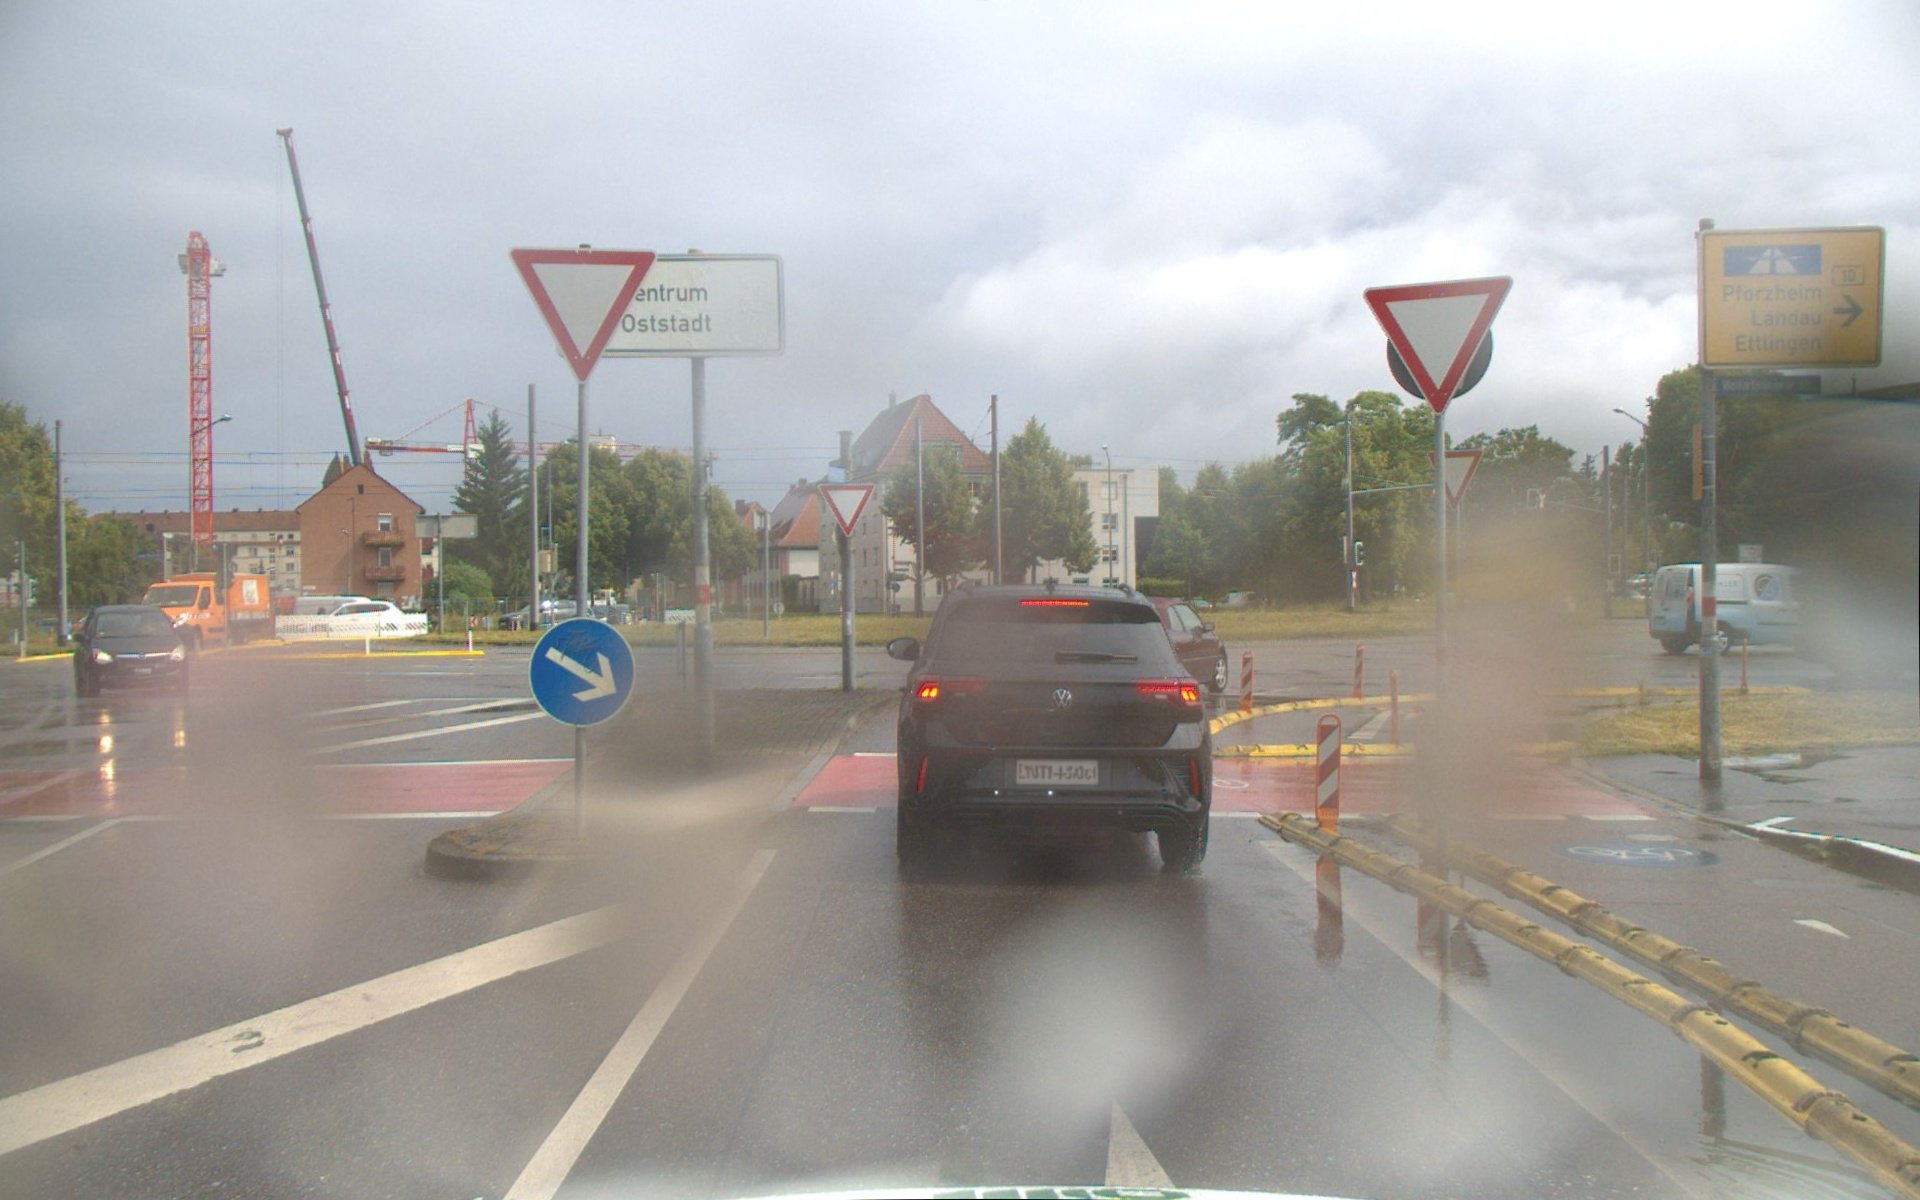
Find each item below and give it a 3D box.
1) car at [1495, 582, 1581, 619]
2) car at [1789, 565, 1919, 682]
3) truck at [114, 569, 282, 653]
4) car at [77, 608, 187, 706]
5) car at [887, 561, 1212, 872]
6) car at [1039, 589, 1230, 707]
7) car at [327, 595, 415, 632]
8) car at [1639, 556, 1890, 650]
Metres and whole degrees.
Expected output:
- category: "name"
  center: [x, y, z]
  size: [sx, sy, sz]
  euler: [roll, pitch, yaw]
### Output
- category: "car"
  center: [26.037, 0.018, 74.581]
  size: [1.706, 1.575, 3.562]
  euler: [-1, 0, -25]
- category: "car"
  center: [15.506, 0.328, 25.805]
  size: [4.249, 1.755, 2.002]
  euler: [-1, 0, 15]
- category: "truck"
  center: [-26.034, 0.340, 56.904]
  size: [2.274, 2.696, 7.092]
  euler: [-1, 0, 2]
- category: "car"
  center: [-15.380, 0.998, 30.650]
  size: [1.549, 1.677, 3.615]
  euler: [-1, 0, -31]
- category: "car"
  center: [0.387, 0.608, 10.409]
  size: [1.674, 1.601, 3.680]
  euler: [0, 0, -3]
- category: "car"
  center: [2.582, 0.627, 23.800]
  size: [1.700, 1.540, 3.602]
  euler: [0, 0, 24]
- category: "car"
  center: [-26.460, 0.592, 74.337]
  size: [3.466, 1.612, 1.548]
  euler: [-1, 0, -35]
- category: "car"
  center: [16.531, 0.053, 34.091]
  size: [4.304, 1.841, 1.868]
  euler: [-1, 0, -5]
